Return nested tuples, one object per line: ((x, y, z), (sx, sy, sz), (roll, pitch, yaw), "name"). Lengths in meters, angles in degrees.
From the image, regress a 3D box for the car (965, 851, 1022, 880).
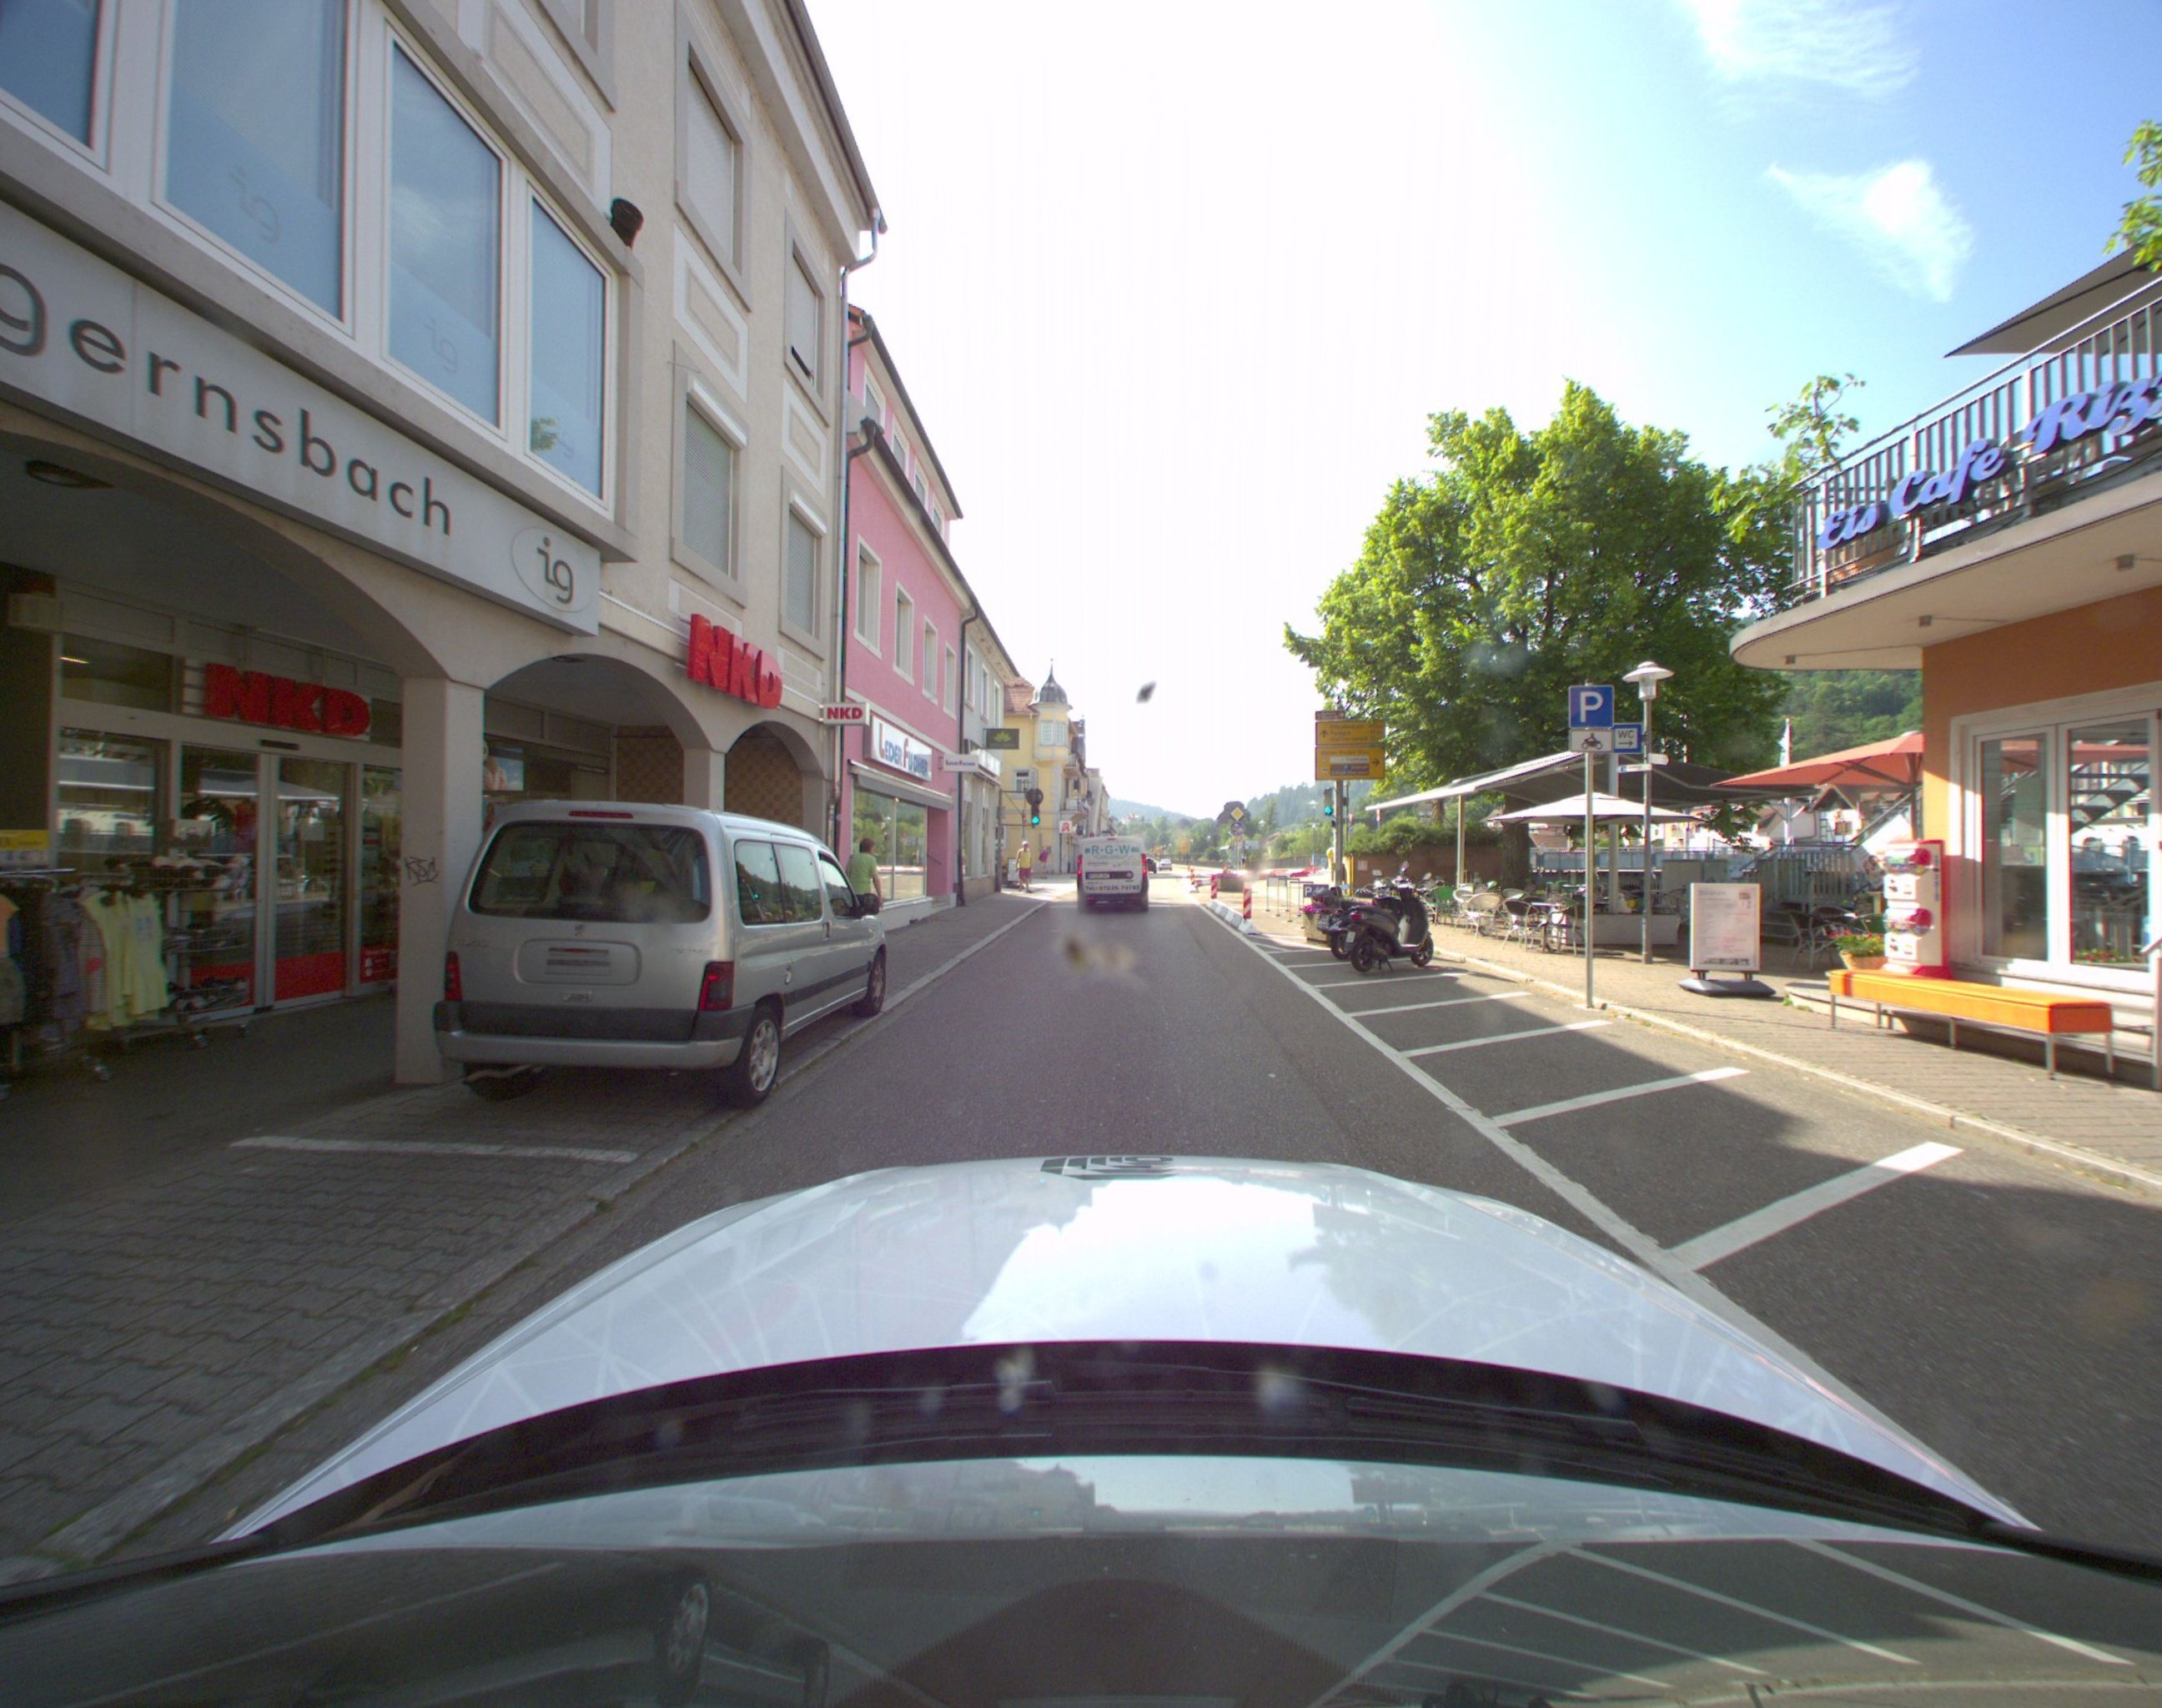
((-5.210, 0.627, 48.006), (1.929, 1.543, 3.922), (1, 1, -30), "car")

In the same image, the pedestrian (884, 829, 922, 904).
((-4.203, 0.280, 19.219), (0.717, 1.722, 0.668), (0, 0, -27), "pedestrian")

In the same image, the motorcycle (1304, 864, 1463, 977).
((3.906, 0.781, 10.458), (2.100, 1.270, 0.919), (0, 0, -37), "motorcycle")

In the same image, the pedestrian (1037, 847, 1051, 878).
((-2.088, 0.465, 45.702), (0.675, 1.714, 0.618), (0, 0, 4), "pedestrian")

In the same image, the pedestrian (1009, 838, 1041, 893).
((-1.967, 0.394, 28.523), (0.904, 1.815, 1.018), (5, 0, -9), "pedestrian")

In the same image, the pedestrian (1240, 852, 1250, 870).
((16.166, 0.684, 80.278), (0.862, 1.706, 0.778), (0, -1, 5), "pedestrian")

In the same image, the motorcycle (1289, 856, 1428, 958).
((4.062, 0.721, 11.893), (1.907, 1.358, 0.908), (0, 0, -32), "motorcycle")

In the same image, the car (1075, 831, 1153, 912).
((0.908, 0.397, 21.466), (1.836, 1.906, 4.319), (1, 0, 3), "car")

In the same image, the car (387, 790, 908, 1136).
((-2.676, 0.549, 6.276), (1.700, 1.739, 4.146), (2, 0, 1), "car")

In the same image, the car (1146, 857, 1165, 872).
((8.382, 1.174, 91.777), (1.985, 1.662, 4.004), (1, 0, 4), "car")

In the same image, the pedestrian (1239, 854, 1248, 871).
((16.168, 0.842, 80.914), (0.785, 1.706, 0.492), (0, -1, 5), "pedestrian")

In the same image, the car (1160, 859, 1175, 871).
((11.641, 1.476, 109.752), (1.985, 1.662, 4.004), (1, 0, 4), "car")

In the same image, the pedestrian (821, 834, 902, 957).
((-3.074, 0.560, 11.462), (0.782, 1.632, 0.860), (2, 0, 5), "pedestrian")
